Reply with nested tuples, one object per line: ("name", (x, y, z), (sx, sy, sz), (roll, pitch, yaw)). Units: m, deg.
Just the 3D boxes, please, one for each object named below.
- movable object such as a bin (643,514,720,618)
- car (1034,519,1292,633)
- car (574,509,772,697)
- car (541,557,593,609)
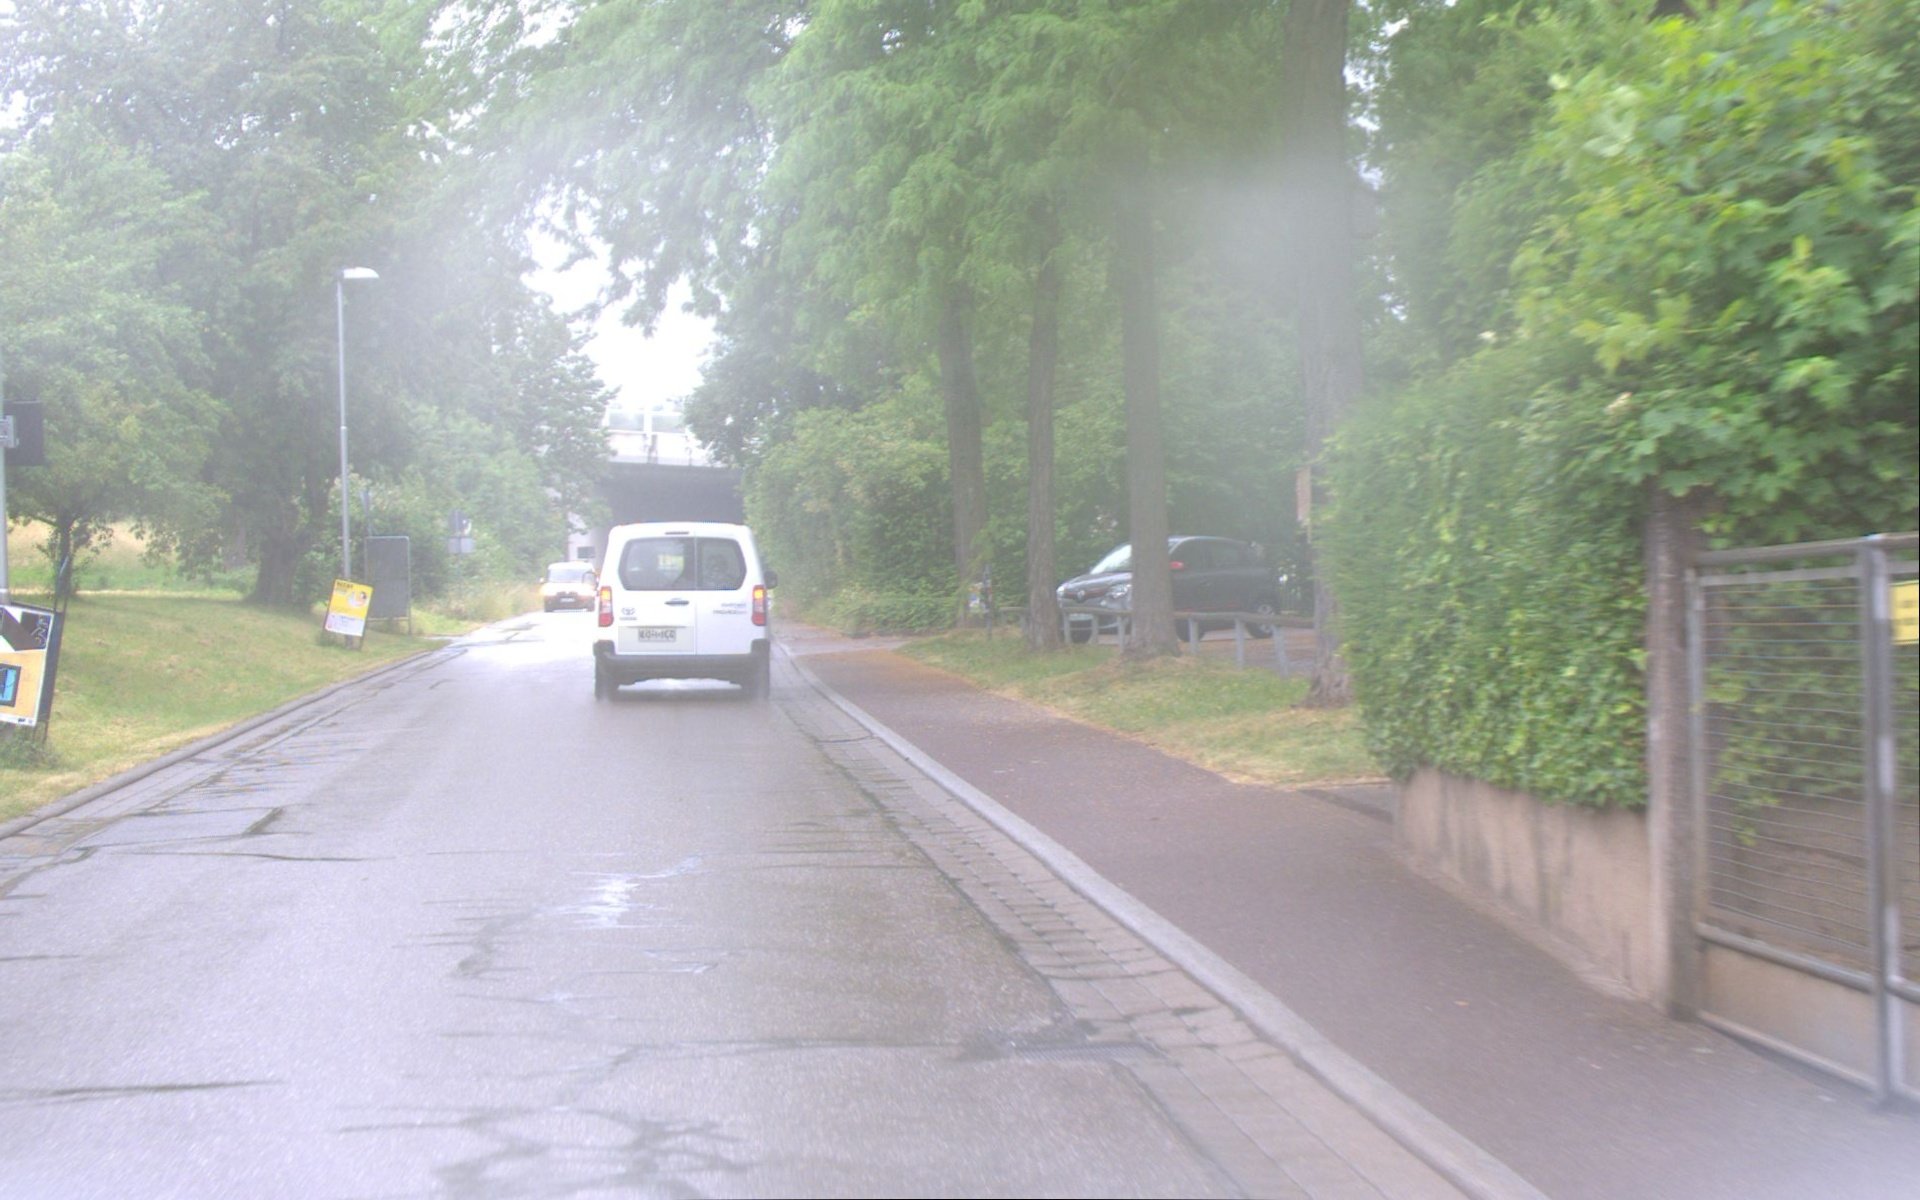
("movable object such as a bin", (-6.968, -0.830, 86.360), (1.761, 2.539, 4.239), (0, 0, -2))
("car", (2.979, -0.361, 50.114), (3.603, 1.546, 1.621), (-2, 0, -41))
("car", (-3.000, -0.010, 36.136), (1.896, 1.801, 4.001), (-2, 1, -4))
("car", (-14.282, -0.608, 124.938), (1.823, 1.825, 4.308), (-1, 0, -6))
